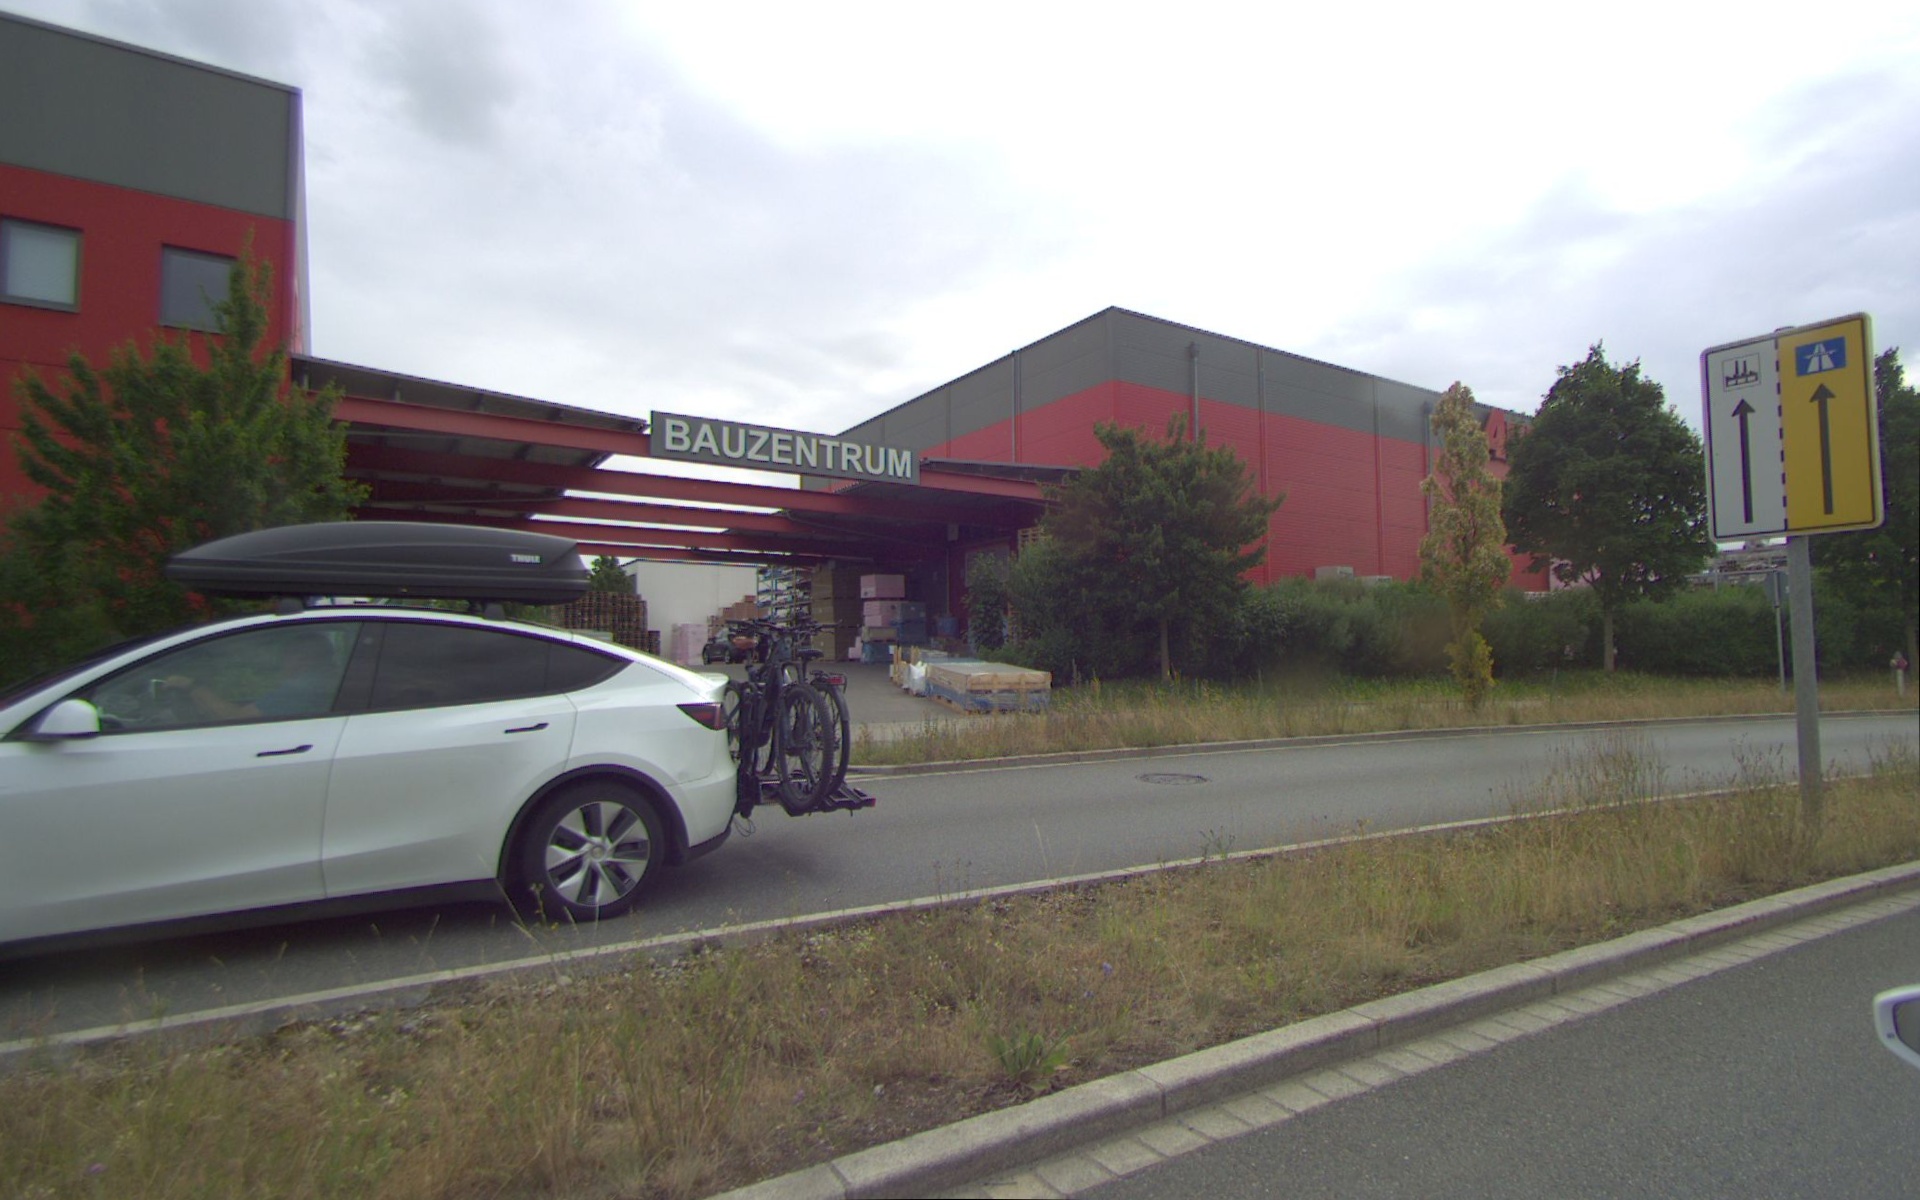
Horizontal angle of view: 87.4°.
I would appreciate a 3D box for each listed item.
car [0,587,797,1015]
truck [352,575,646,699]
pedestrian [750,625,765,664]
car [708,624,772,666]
[{"bbox_3d":[-3.349,0.791,5.199,4.585,1.648,1.899,1,0,-32],"label":"car"},{"bbox_3d":[-10.401,0.877,22.919,5.846,2.520,2.021,2,-3,-34],"label":"truck"},{"bbox_3d":[-9.158,2.018,45.439,0.557,1.776,0.478,2,-3,-31],"label":"pedestrian"},{"bbox_3d":[-10.501,2.138,47.698,1.790,1.872,3.967,2,-3,-31],"label":"car"}]
